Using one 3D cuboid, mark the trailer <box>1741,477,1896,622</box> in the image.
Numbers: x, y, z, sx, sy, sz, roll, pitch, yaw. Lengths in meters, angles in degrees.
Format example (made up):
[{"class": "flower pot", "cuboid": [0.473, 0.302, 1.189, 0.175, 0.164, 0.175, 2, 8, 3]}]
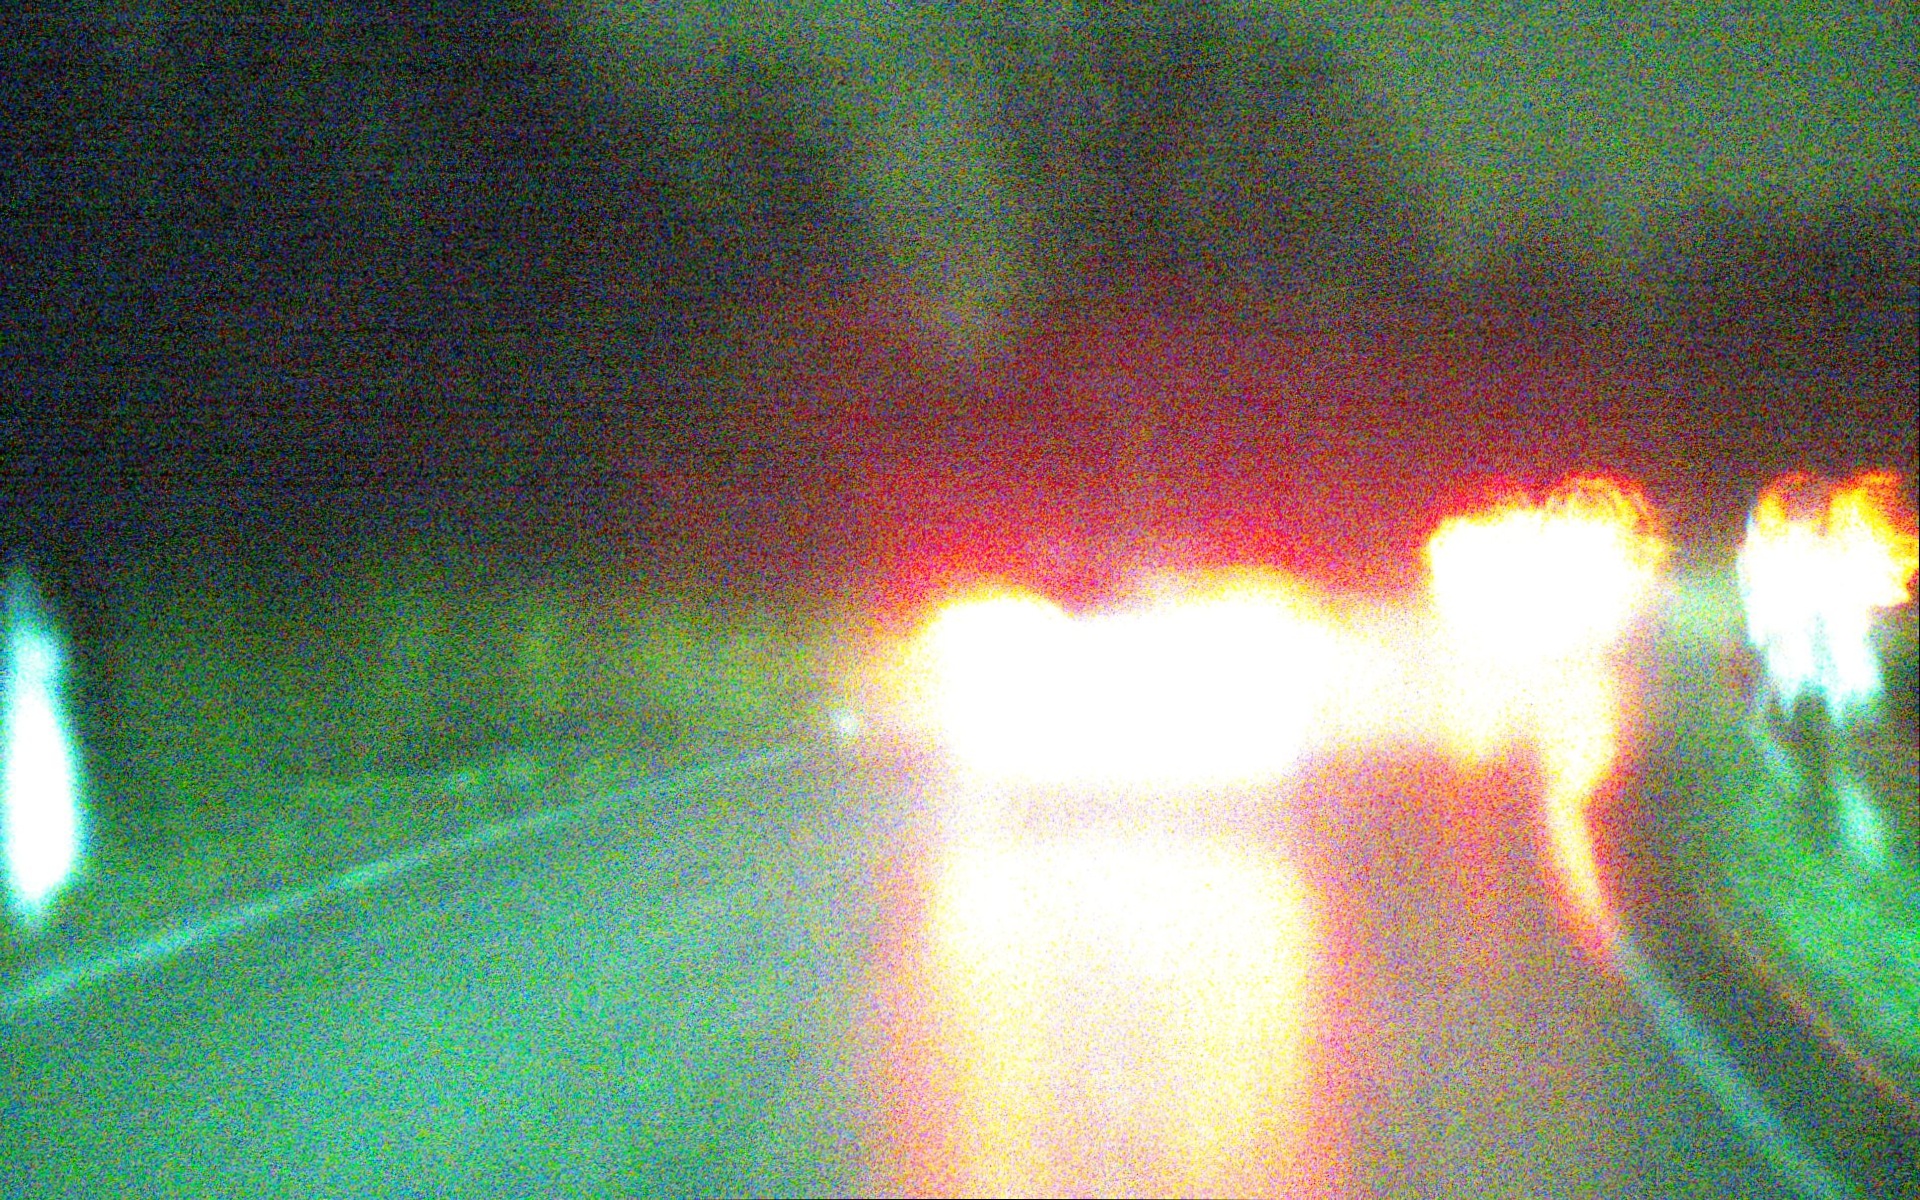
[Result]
[{"class": "trailer", "cuboid": [13.766, -0.696, 55.046, 2.079, 2.007, 10.640, -3, -1, 14]}]
